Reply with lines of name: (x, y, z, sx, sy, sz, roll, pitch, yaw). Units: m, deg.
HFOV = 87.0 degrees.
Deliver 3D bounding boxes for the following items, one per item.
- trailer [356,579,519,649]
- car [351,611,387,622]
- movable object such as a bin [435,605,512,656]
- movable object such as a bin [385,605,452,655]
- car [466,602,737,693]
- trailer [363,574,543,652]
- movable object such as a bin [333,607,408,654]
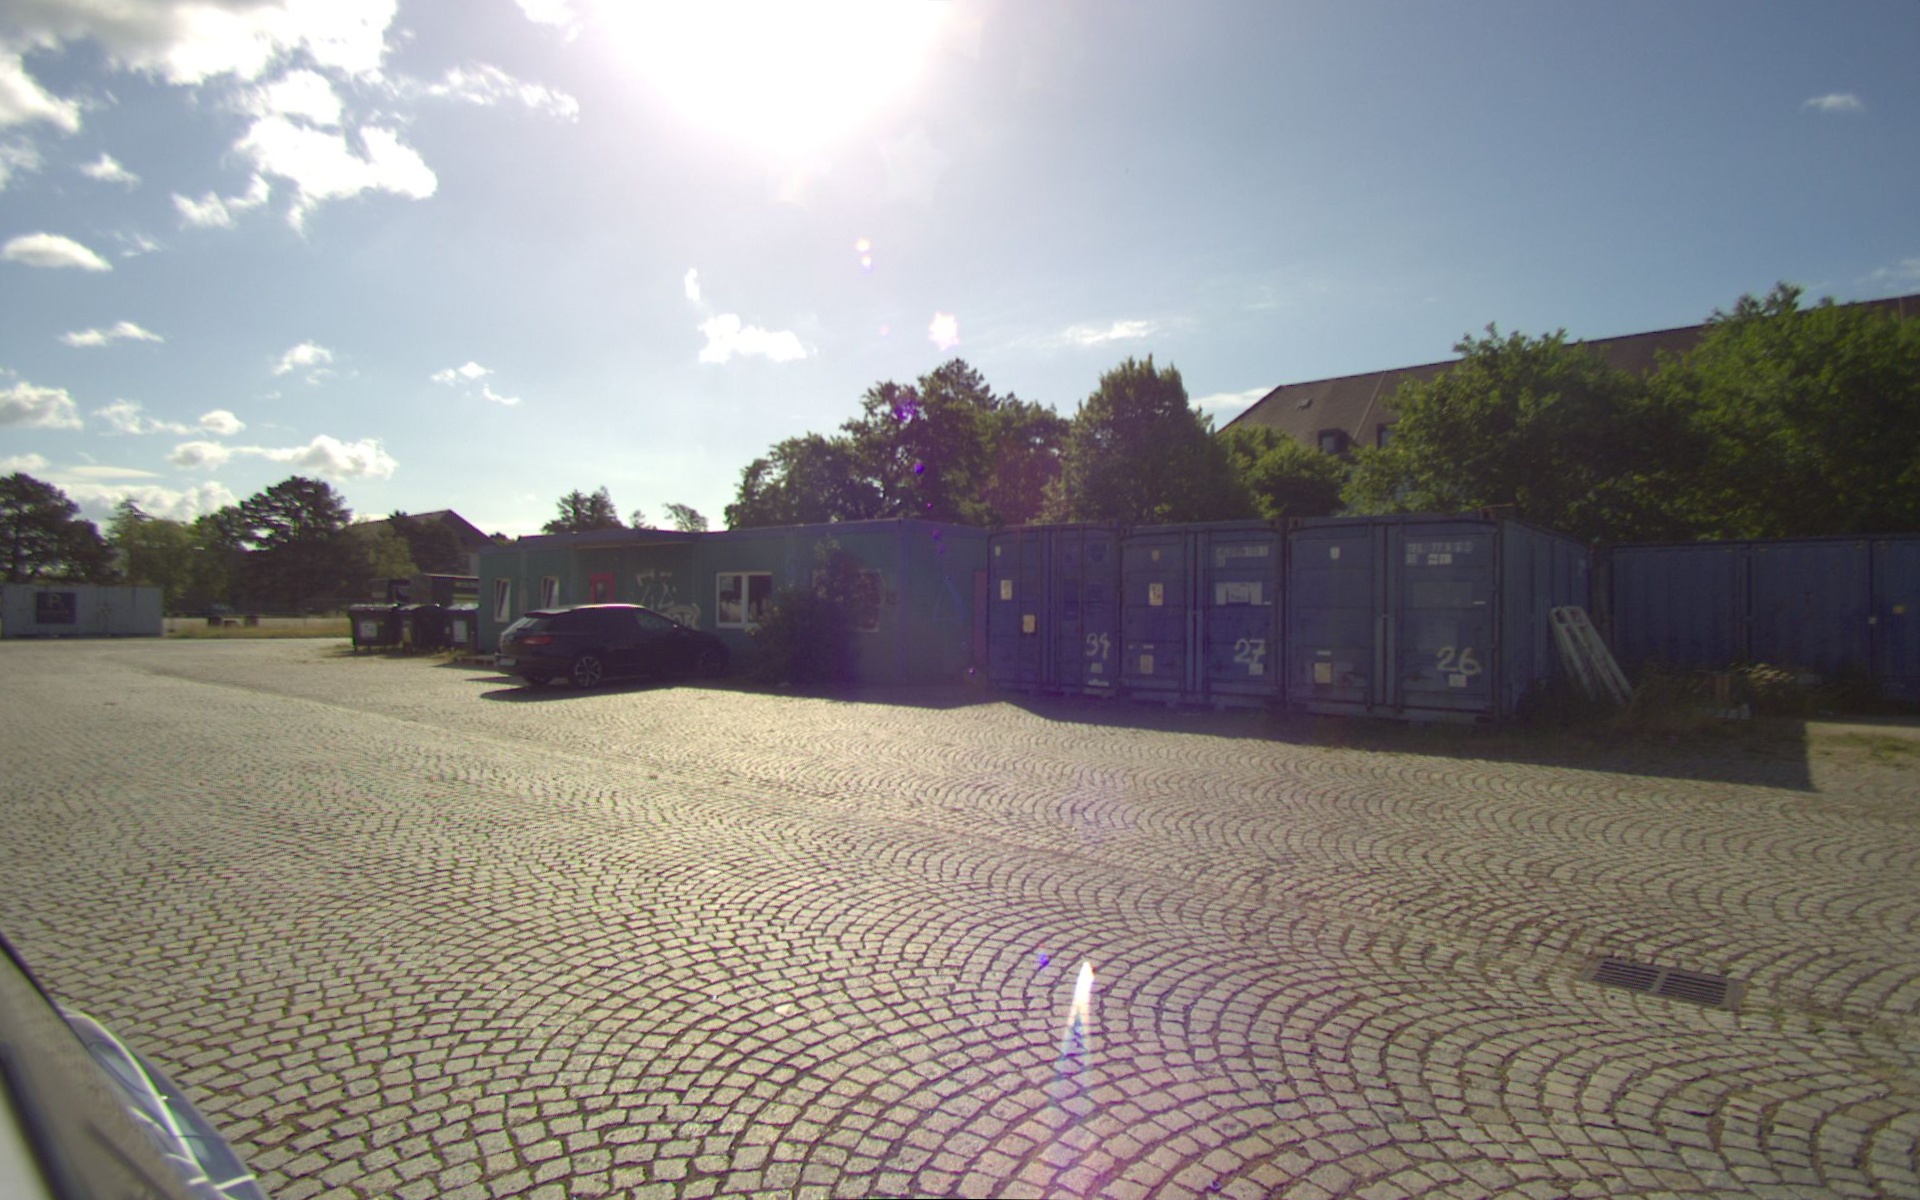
trailer: (-18.290, 0.498, 35.583, 2.136, 2.315, 4.605, -1, -1, 42)
car: (-83.108, 2.343, 142.273, 1.997, 1.594, 3.950, 0, -1, 37)
movable object such as a bin: (-14.057, 0.865, 29.247, 1.529, 1.397, 1.372, 0, -1, 29)
movable object such as a bin: (-15.866, 0.861, 29.661, 1.535, 1.433, 1.282, -1, -1, 42)
car: (-6.495, 0.811, 18.753, 1.997, 1.475, 4.373, 0, -1, 37)
trailer: (-16.716, 0.438, 33.601, 2.092, 2.372, 4.913, 0, -1, 37)
movable object such as a bin: (-17.831, 0.911, 30.657, 1.513, 1.397, 1.387, 0, -1, -3)
